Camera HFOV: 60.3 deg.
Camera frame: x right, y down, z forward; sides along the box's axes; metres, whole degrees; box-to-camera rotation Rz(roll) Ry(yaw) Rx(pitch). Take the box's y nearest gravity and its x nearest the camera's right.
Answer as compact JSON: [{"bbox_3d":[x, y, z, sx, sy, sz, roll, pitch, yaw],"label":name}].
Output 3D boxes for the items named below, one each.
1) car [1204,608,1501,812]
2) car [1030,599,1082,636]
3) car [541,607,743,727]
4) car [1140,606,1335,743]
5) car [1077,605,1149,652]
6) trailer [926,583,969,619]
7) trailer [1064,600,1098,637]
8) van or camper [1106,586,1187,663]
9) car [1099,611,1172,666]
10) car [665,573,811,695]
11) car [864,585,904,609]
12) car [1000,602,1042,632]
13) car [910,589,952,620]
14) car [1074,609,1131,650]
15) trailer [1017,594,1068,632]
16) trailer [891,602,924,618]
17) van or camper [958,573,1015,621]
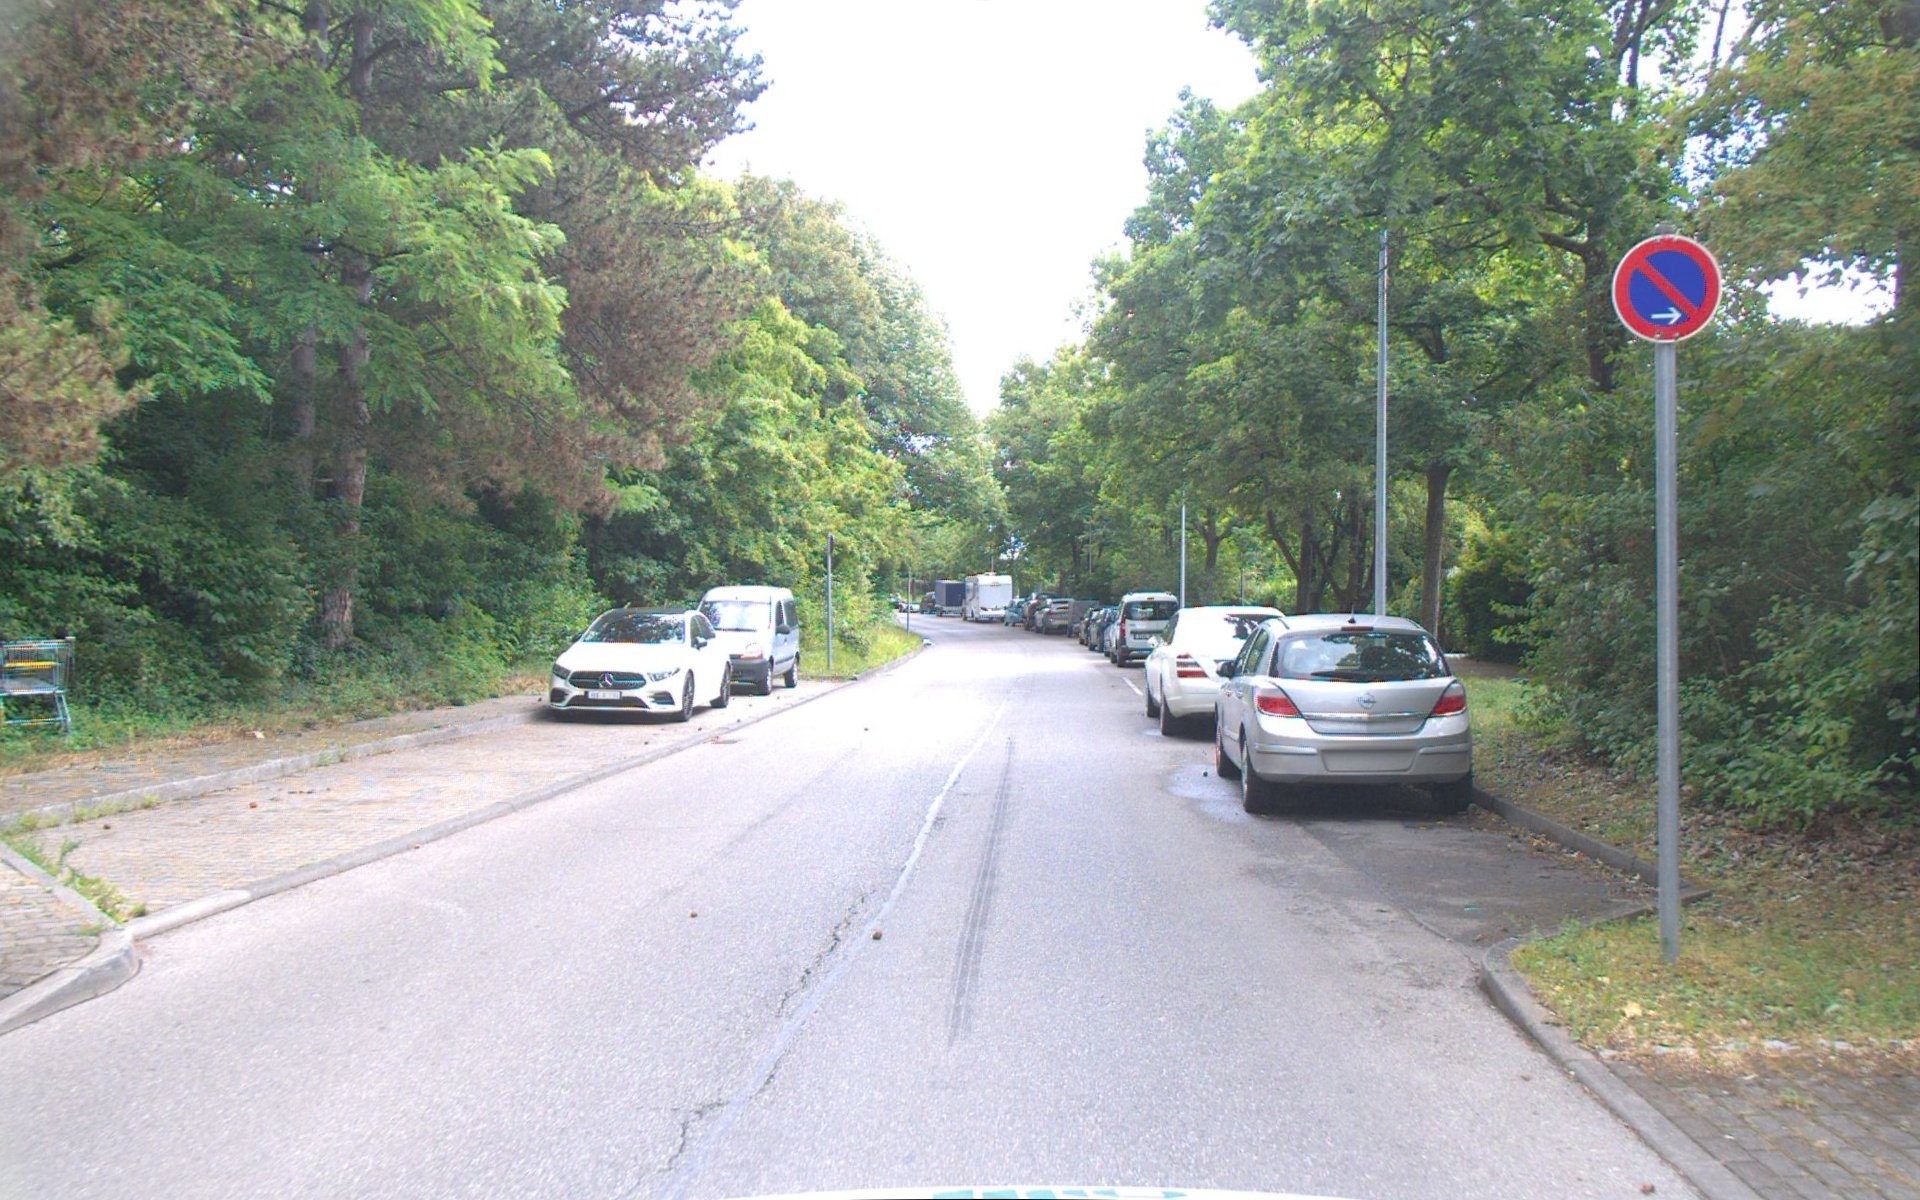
[{"bbox_3d":[3.072,0.795,13.747,1.755,1.435,4.061,-1,0,4],"label":"car"},{"bbox_3d":[4.558,0.854,78.959,1.757,1.699,4.495,0,-1,-6],"label":"car"},{"bbox_3d":[-4.254,0.839,22.810,1.768,1.427,4.373,2,0,2],"label":"car"},{"bbox_3d":[3.399,0.845,21.184,1.847,1.533,5.177,0,0,3],"label":"car"},{"bbox_3d":[5.069,0.918,55.236,1.810,1.500,4.476,0,0,-2],"label":"car"},{"bbox_3d":[-0.876,0.044,115.303,1.962,2.440,3.981,0,0,-17],"label":"trailer"},{"bbox_3d":[5.308,0.796,72.528,1.253,1.613,2.459,0,0,-2],"label":"trailer"},{"bbox_3d":[4.739,0.658,42.541,1.764,1.870,4.321,0,-2,2],"label":"van or camper"},{"bbox_3d":[5.081,1.091,48.378,1.775,1.462,4.243,1,0,1],"label":"car"},{"bbox_3d":[-3.867,0.546,29.417,1.685,1.955,4.107,2,1,4],"label":"car"},{"bbox_3d":[-6.135,-0.256,133.410,2.007,1.835,4.055,-1,1,-22],"label":"car"},{"bbox_3d":[3.450,0.943,94.399,1.766,1.589,3.829,-1,1,-7],"label":"car"},{"bbox_3d":[-2.125,0.316,120.656,1.963,2.061,3.981,-3,3,-18],"label":"car"},{"bbox_3d":[5.292,1.084,61.730,1.686,1.478,3.916,0,0,-2],"label":"car"},{"bbox_3d":[4.198,0.633,85.105,1.940,1.843,5.144,-1,1,-5],"label":"trailer"},{"bbox_3d":[-3.971,0.734,124.373,1.624,1.105,3.985,-2,1,-15],"label":"trailer"},{"bbox_3d":[1.634,-0.171,104.718,2.436,2.926,6.874,0,0,-9],"label":"van or camper"}]
